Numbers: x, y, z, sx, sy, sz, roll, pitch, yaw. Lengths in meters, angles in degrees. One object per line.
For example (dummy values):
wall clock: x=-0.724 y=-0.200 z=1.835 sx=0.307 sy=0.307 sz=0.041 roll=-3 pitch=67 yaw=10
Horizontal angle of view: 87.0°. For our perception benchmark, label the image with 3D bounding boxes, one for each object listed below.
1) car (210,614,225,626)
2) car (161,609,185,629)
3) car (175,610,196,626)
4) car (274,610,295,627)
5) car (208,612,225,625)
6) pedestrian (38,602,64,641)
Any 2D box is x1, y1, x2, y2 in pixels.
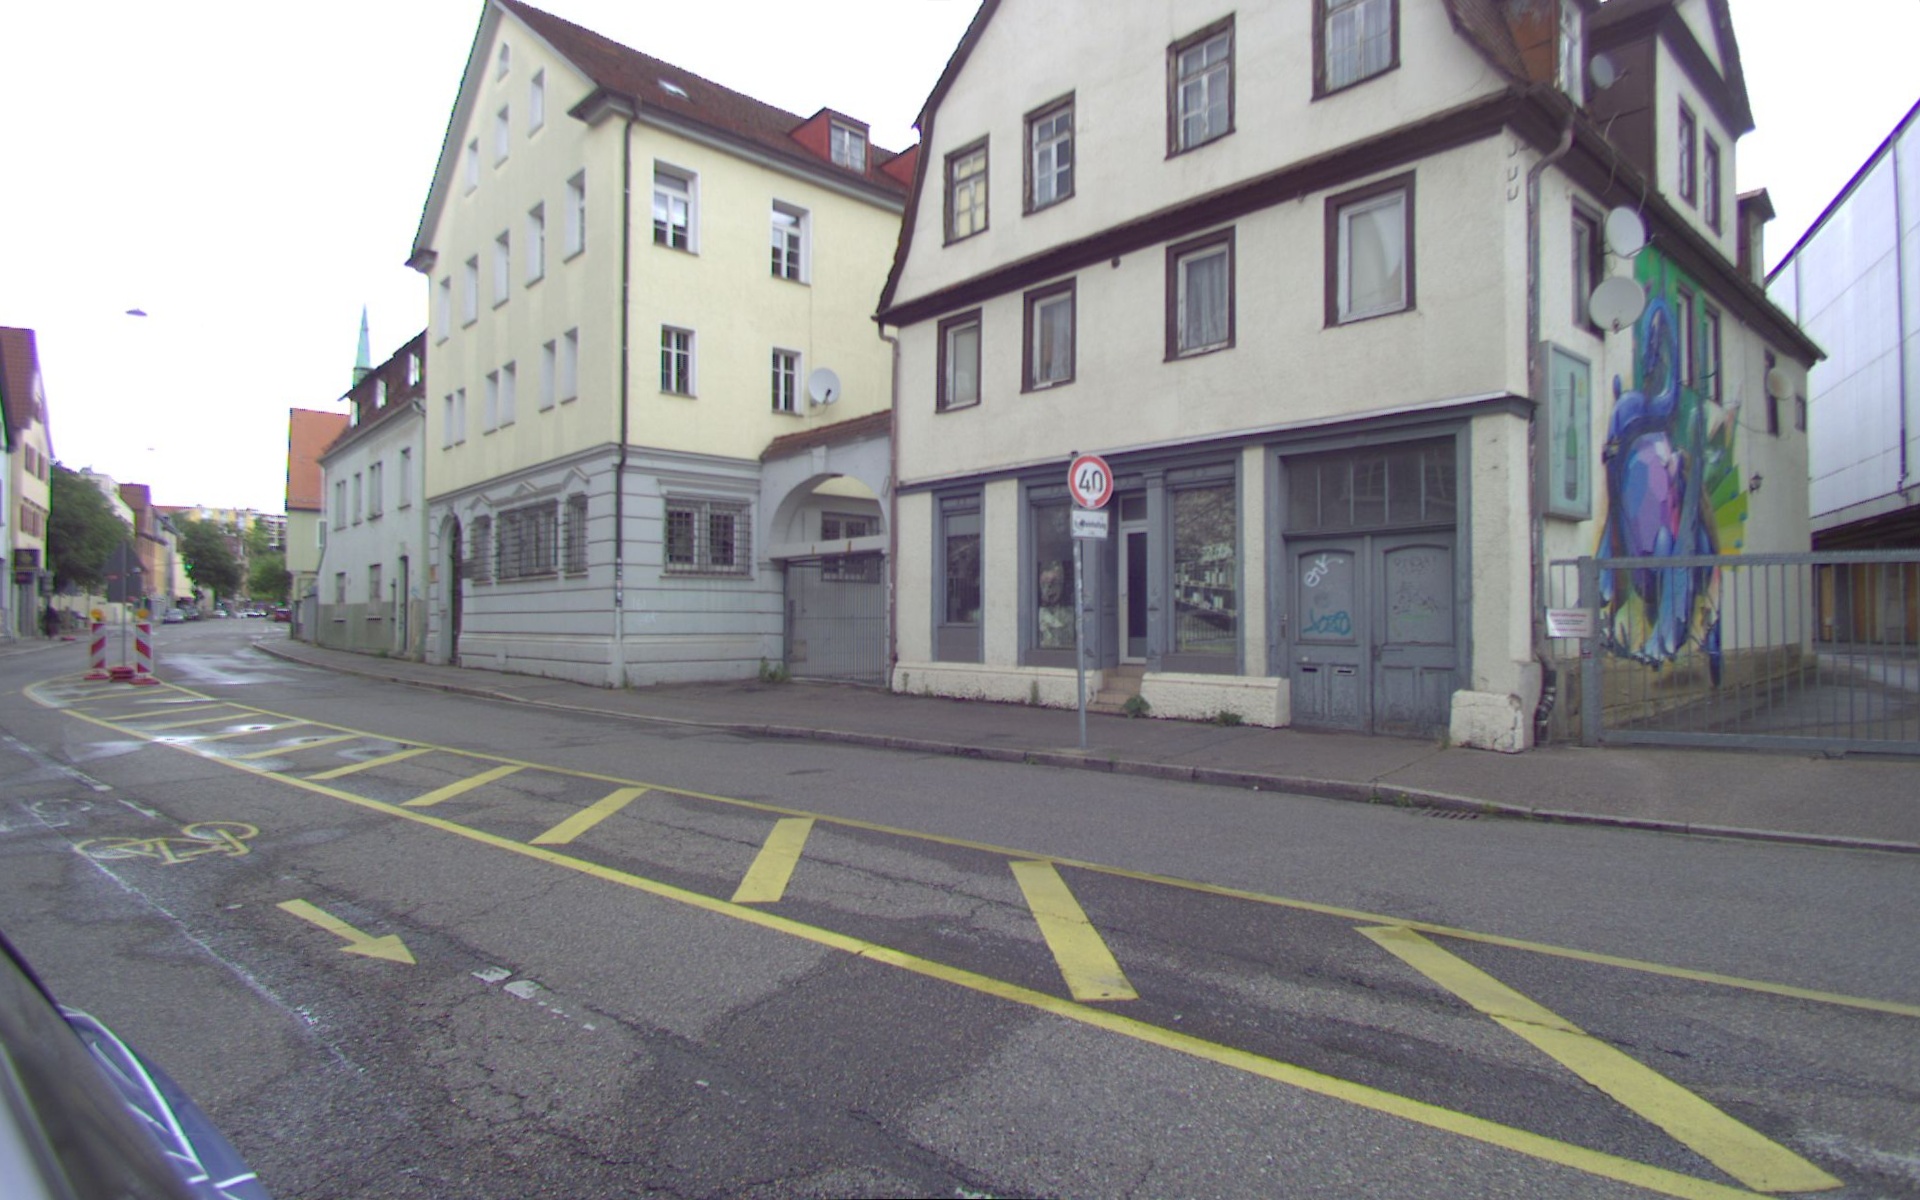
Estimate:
car: x=-123.511 y=3.333 z=168.298 sx=1.967 sy=2.029 sz=4.009 roll=1 pitch=-2 yaw=-37
car: x=-84.790 y=2.066 z=109.046 sx=1.967 sy=2.029 sz=4.009 roll=1 pitch=-2 yaw=-37
car: x=-97.000 y=2.256 z=126.790 sx=1.967 sy=2.029 sz=4.009 roll=1 pitch=-2 yaw=-37
car: x=-85.661 y=2.337 z=128.362 sx=2.027 sy=2.029 sz=4.009 roll=1 pitch=-2 yaw=-37
car: x=-114.766 y=2.870 z=156.226 sx=1.967 sy=2.029 sz=4.009 roll=1 pitch=-2 yaw=-37
pedestrian: x=-44.855 y=1.069 z=49.948 sx=0.864 sy=1.914 sz=0.899 roll=1 pitch=-2 yaw=-36
